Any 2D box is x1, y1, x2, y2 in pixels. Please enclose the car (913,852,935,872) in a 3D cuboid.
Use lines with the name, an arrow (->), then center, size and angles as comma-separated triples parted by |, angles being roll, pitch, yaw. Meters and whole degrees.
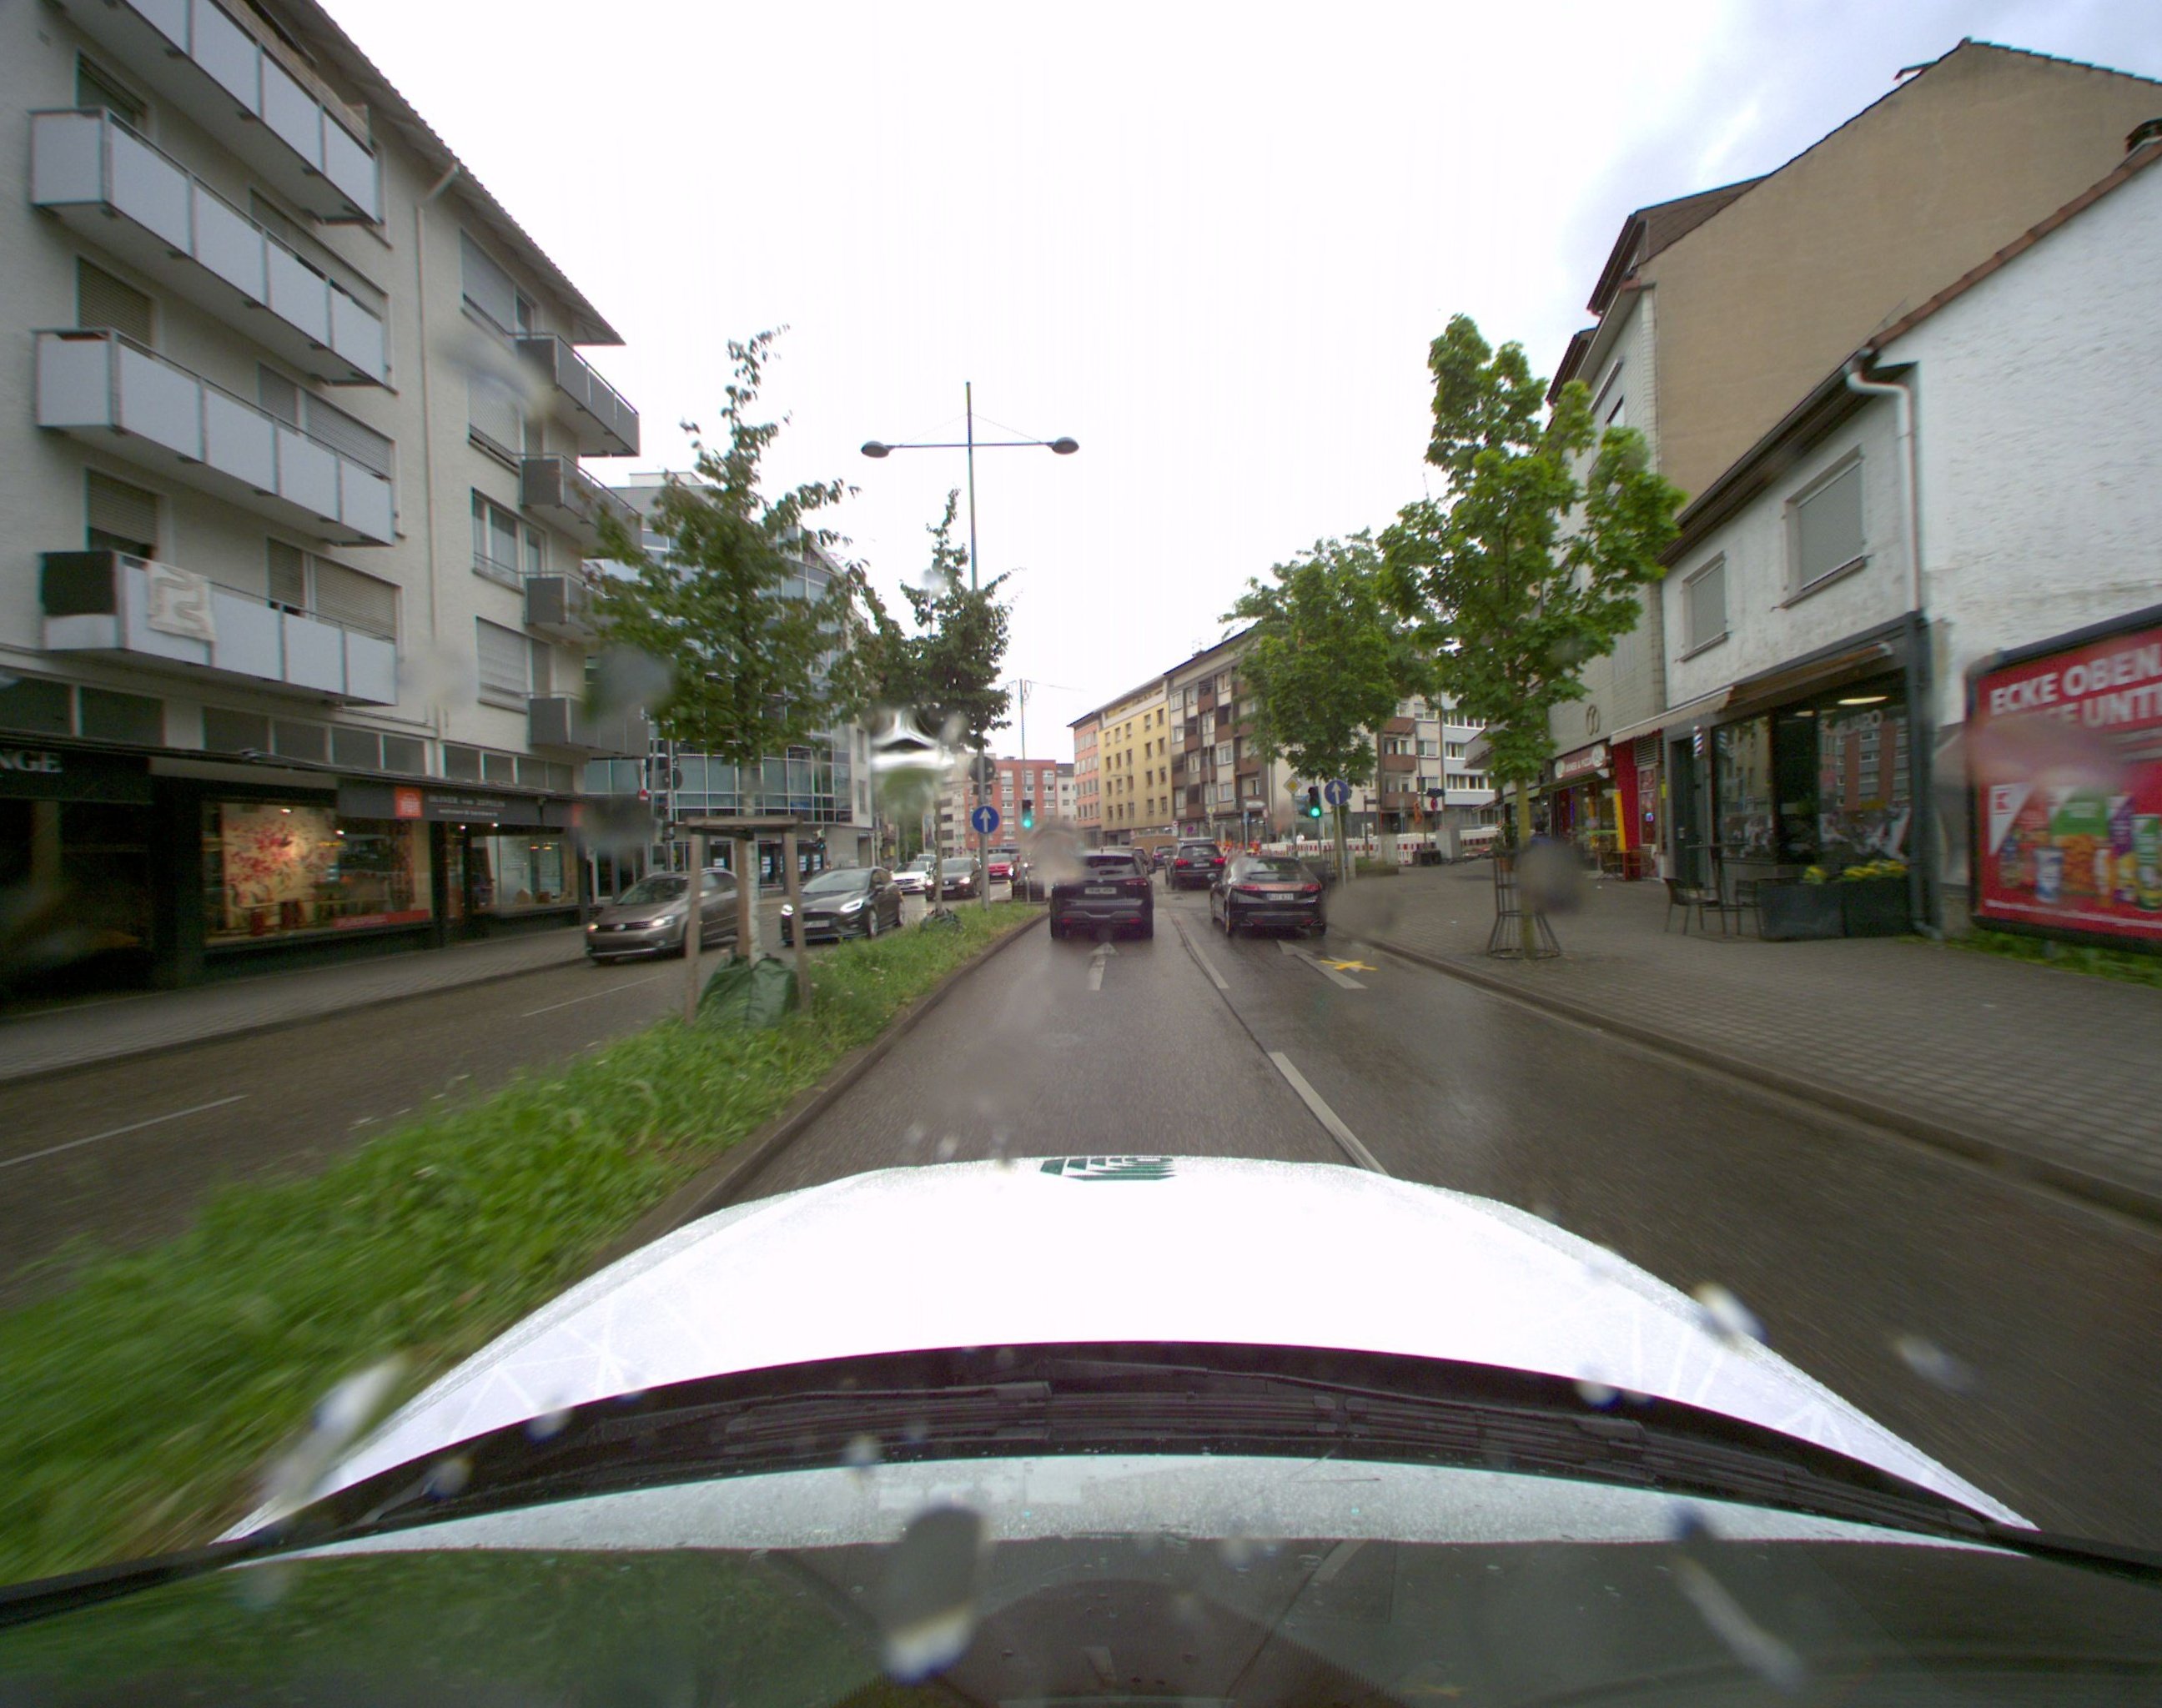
car -> -12.510, 0.638, 64.967 | 1.549, 1.570, 3.338 | 0, 0, -9

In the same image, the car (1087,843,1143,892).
car -> 1.158, 0.433, 28.391 | 1.817, 1.600, 3.719 | -1, 0, 1

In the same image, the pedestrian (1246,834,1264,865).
pedestrian -> 11.532, -0.285, 54.007 | 0.824, 2.013, 0.835 | 0, 1, -18

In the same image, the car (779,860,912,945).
car -> -4.804, 0.922, 17.174 | 1.527, 1.412, 3.937 | -5, 0, 1

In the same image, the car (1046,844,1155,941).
car -> 0.378, 0.637, 15.544 | 1.817, 1.600, 3.719 | -1, 0, 1

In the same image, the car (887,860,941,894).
car -> -7.252, 0.985, 35.598 | 1.545, 1.290, 3.348 | -4, 0, 0

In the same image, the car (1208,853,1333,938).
car -> 3.497, 0.703, 15.673 | 1.778, 1.400, 3.723 | -1, 0, 4

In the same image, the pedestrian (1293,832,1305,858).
pedestrian -> 14.785, -0.635, 55.310 | 0.532, 1.769, 0.617 | -1, 1, -30

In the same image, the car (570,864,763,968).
car -> -7.899, 1.084, 15.975 | 1.627, 1.591, 3.937 | -5, 0, 0

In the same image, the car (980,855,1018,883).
car -> -4.319, 0.757, 43.356 | 1.636, 1.321, 3.348 | -4, 0, 0

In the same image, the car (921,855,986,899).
car -> -4.592, 0.785, 29.736 | 1.665, 1.369, 3.752 | -4, 0, 0

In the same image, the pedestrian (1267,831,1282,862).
pedestrian -> 12.710, -0.484, 53.470 | 0.818, 2.013, 0.840 | 0, 1, 3

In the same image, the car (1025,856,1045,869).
car -> -5.151, 0.908, 90.948 | 1.642, 1.344, 3.334 | -4, 0, -12

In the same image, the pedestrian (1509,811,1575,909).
pedestrian -> 8.617, 0.106, 15.256 | 0.786, 1.755, 0.875 | -4, 0, 13

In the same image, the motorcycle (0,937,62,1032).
motorcycle -> -12.293, 1.482, 8.524 | 0.523, 0.995, 2.137 | 0, 0, 2

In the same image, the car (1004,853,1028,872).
car -> -4.912, 0.632, 61.953 | 1.637, 1.344, 3.345 | -4, 0, -2

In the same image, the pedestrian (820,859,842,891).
pedestrian -> -12.800, 1.079, 41.642 | 0.787, 1.591, 0.755 | -4, 0, -36

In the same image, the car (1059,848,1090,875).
car -> -0.378, 0.402, 46.077 | 1.636, 1.381, 3.347 | -4, 0, -1

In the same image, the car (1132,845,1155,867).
car -> 5.215, 0.131, 67.792 | 1.822, 1.683, 3.723 | -1, 1, 4

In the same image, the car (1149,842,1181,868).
car -> 5.339, 0.011, 52.180 | 1.823, 1.562, 3.721 | -1, 1, 2

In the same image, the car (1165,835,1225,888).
car -> 4.099, 0.231, 29.846 | 1.823, 1.805, 3.721 | -1, 1, 2
